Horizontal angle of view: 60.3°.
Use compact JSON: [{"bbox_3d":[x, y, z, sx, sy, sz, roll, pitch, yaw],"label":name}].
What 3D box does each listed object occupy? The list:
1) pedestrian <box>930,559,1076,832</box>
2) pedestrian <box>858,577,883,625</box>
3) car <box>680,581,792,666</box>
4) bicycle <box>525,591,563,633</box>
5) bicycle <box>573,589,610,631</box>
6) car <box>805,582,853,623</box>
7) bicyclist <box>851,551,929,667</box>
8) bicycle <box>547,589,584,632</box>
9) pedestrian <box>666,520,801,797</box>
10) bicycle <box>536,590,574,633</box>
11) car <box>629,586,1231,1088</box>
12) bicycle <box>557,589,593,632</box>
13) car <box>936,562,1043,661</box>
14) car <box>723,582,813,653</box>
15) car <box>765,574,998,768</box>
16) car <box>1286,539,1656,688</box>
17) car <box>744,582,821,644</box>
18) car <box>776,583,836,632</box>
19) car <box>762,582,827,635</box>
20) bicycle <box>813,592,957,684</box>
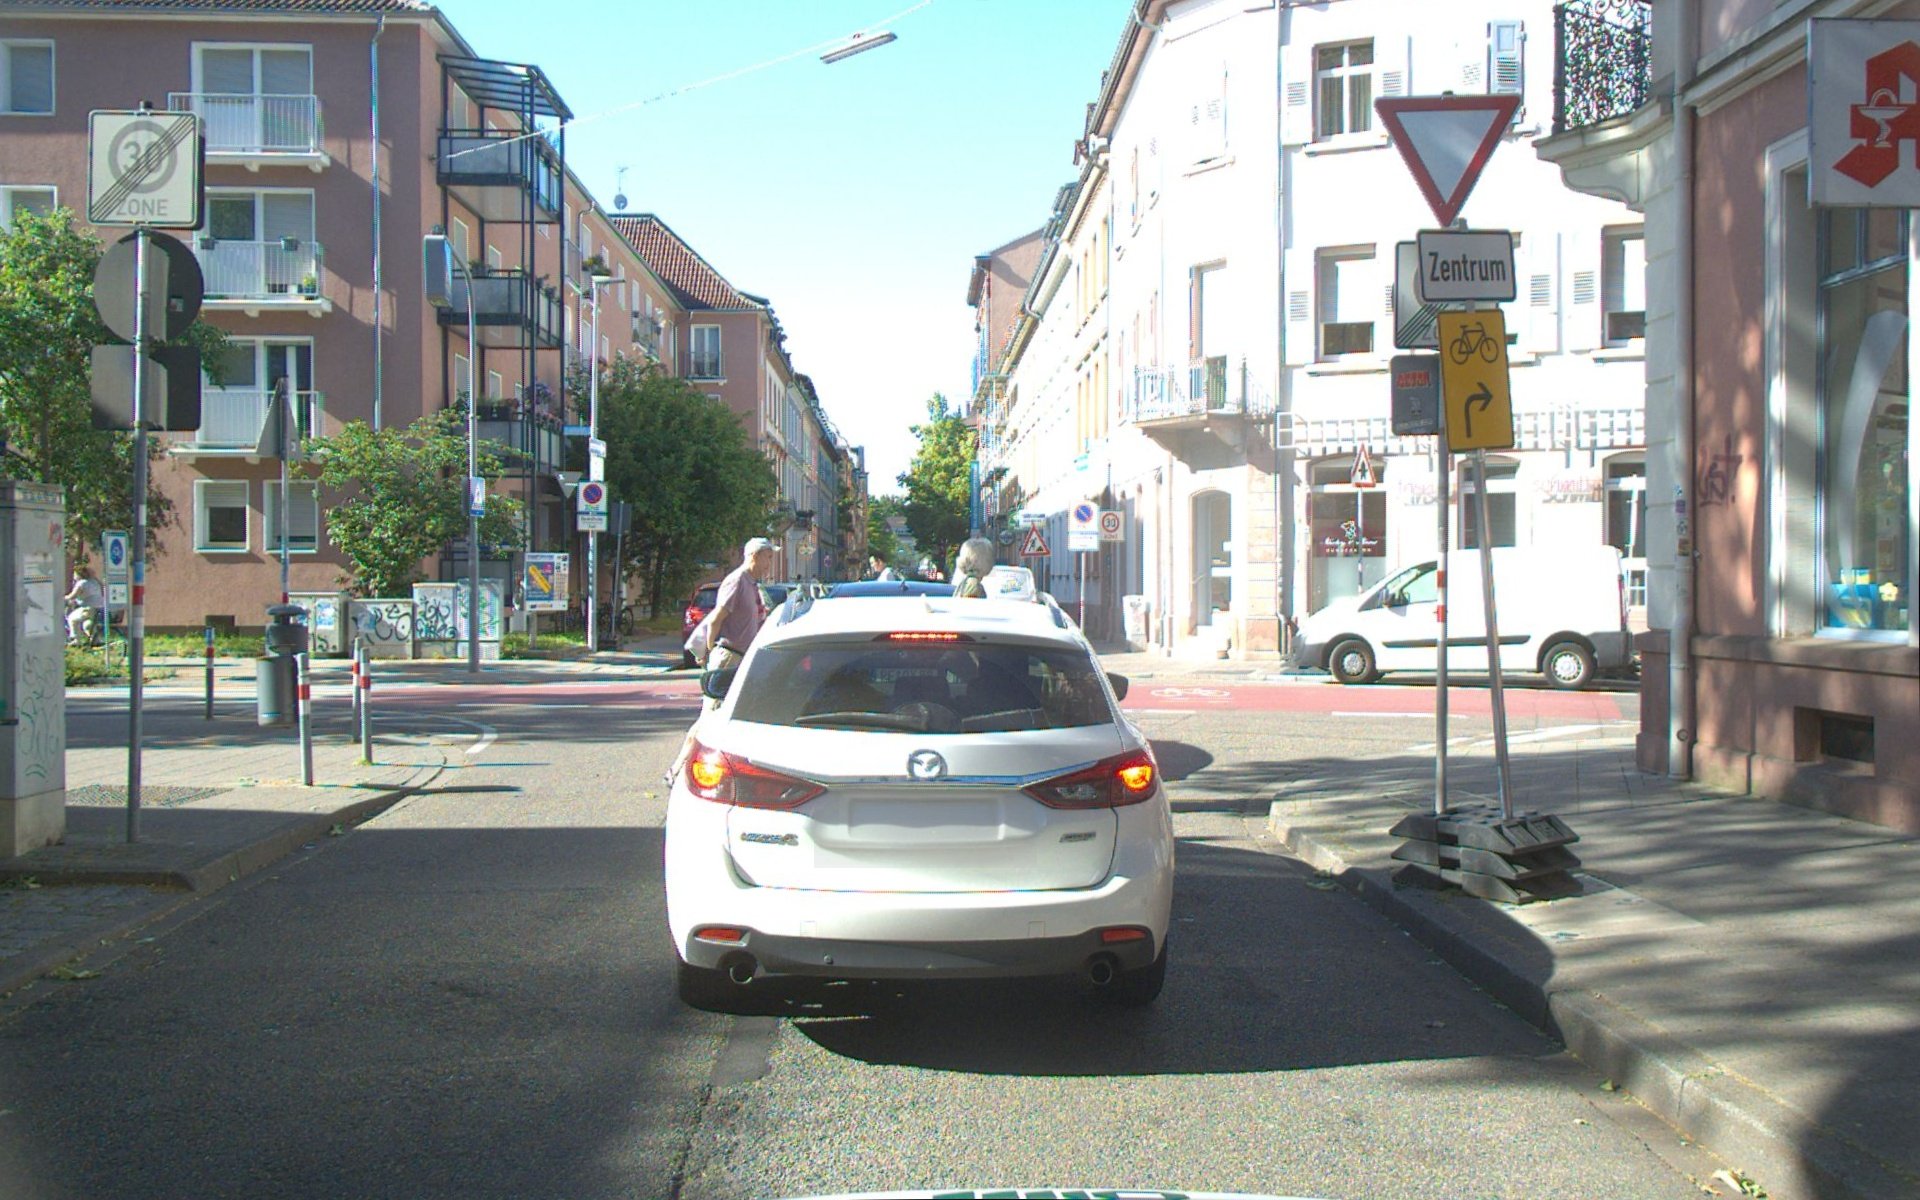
[{"bbox_3d":[0.272,0.609,10.937,0.819,1.695,0.626,-4,1,-1],"label":"pedestrian"},{"bbox_3d":[-3.109,0.040,57.546,0.720,1.642,0.813,-1,0,-14],"label":"pedestrian"},{"bbox_3d":[-4.212,0.399,31.564,1.650,1.526,3.806,0,1,-1],"label":"car"},{"bbox_3d":[-10.697,0.296,42.552,1.193,1.053,0.290,0,1,38],"label":"bicycle"},{"bbox_3d":[-9.647,0.258,43.335,1.196,1.090,0.252,0,1,38],"label":"bicycle"},{"bbox_3d":[-5.053,0.065,64.108,1.620,1.526,3.762,0,1,-1],"label":"car"},{"bbox_3d":[-0.940,0.118,22.399,1.021,1.545,0.738,0,0,-1],"label":"bicyclist"},{"bbox_3d":[-10.265,0.262,43.039,1.193,1.089,0.252,0,1,38],"label":"bicycle"},{"bbox_3d":[-1.550,0.385,11.446,0.735,1.794,0.830,5,0,-5],"label":"pedestrian"},{"bbox_3d":[-10.478,0.287,42.775,1.193,1.091,0.265,0,1,38],"label":"bicycle"},{"bbox_3d":[-0.113,0.687,6.920,1.794,1.482,3.962,0,1,-1],"label":"car"},{"bbox_3d":[-10.079,0.270,43.289,1.193,1.090,0.252,0,1,38],"label":"bicycle"},{"bbox_3d":[0.553,0.198,35.420,1.857,1.891,5.011,2,0,-3],"label":"car"},{"bbox_3d":[-4.300,0.351,37.614,1.620,1.526,4.079,0,1,-1],"label":"car"},{"bbox_3d":[-0.611,0.504,14.427,1.725,1.434,4.327,0,1,-1],"label":"car"},{"bbox_3d":[7.329,0.165,23.827,4.906,1.980,2.051,0,0,21],"label":"car"},{"bbox_3d":[-4.549,0.299,42.820,1.620,1.526,3.762,0,1,-1],"label":"car"},{"bbox_3d":[-4.952,0.218,53.594,1.620,1.526,3.762,0,1,-1],"label":"car"},{"bbox_3d":[-4.926,0.232,49.666,1.620,1.526,3.762,0,1,-1],"label":"car"},{"bbox_3d":[-1.003,0.505,22.401,1.907,1.219,0.630,0,0,-1],"label":"bicycle"}]
